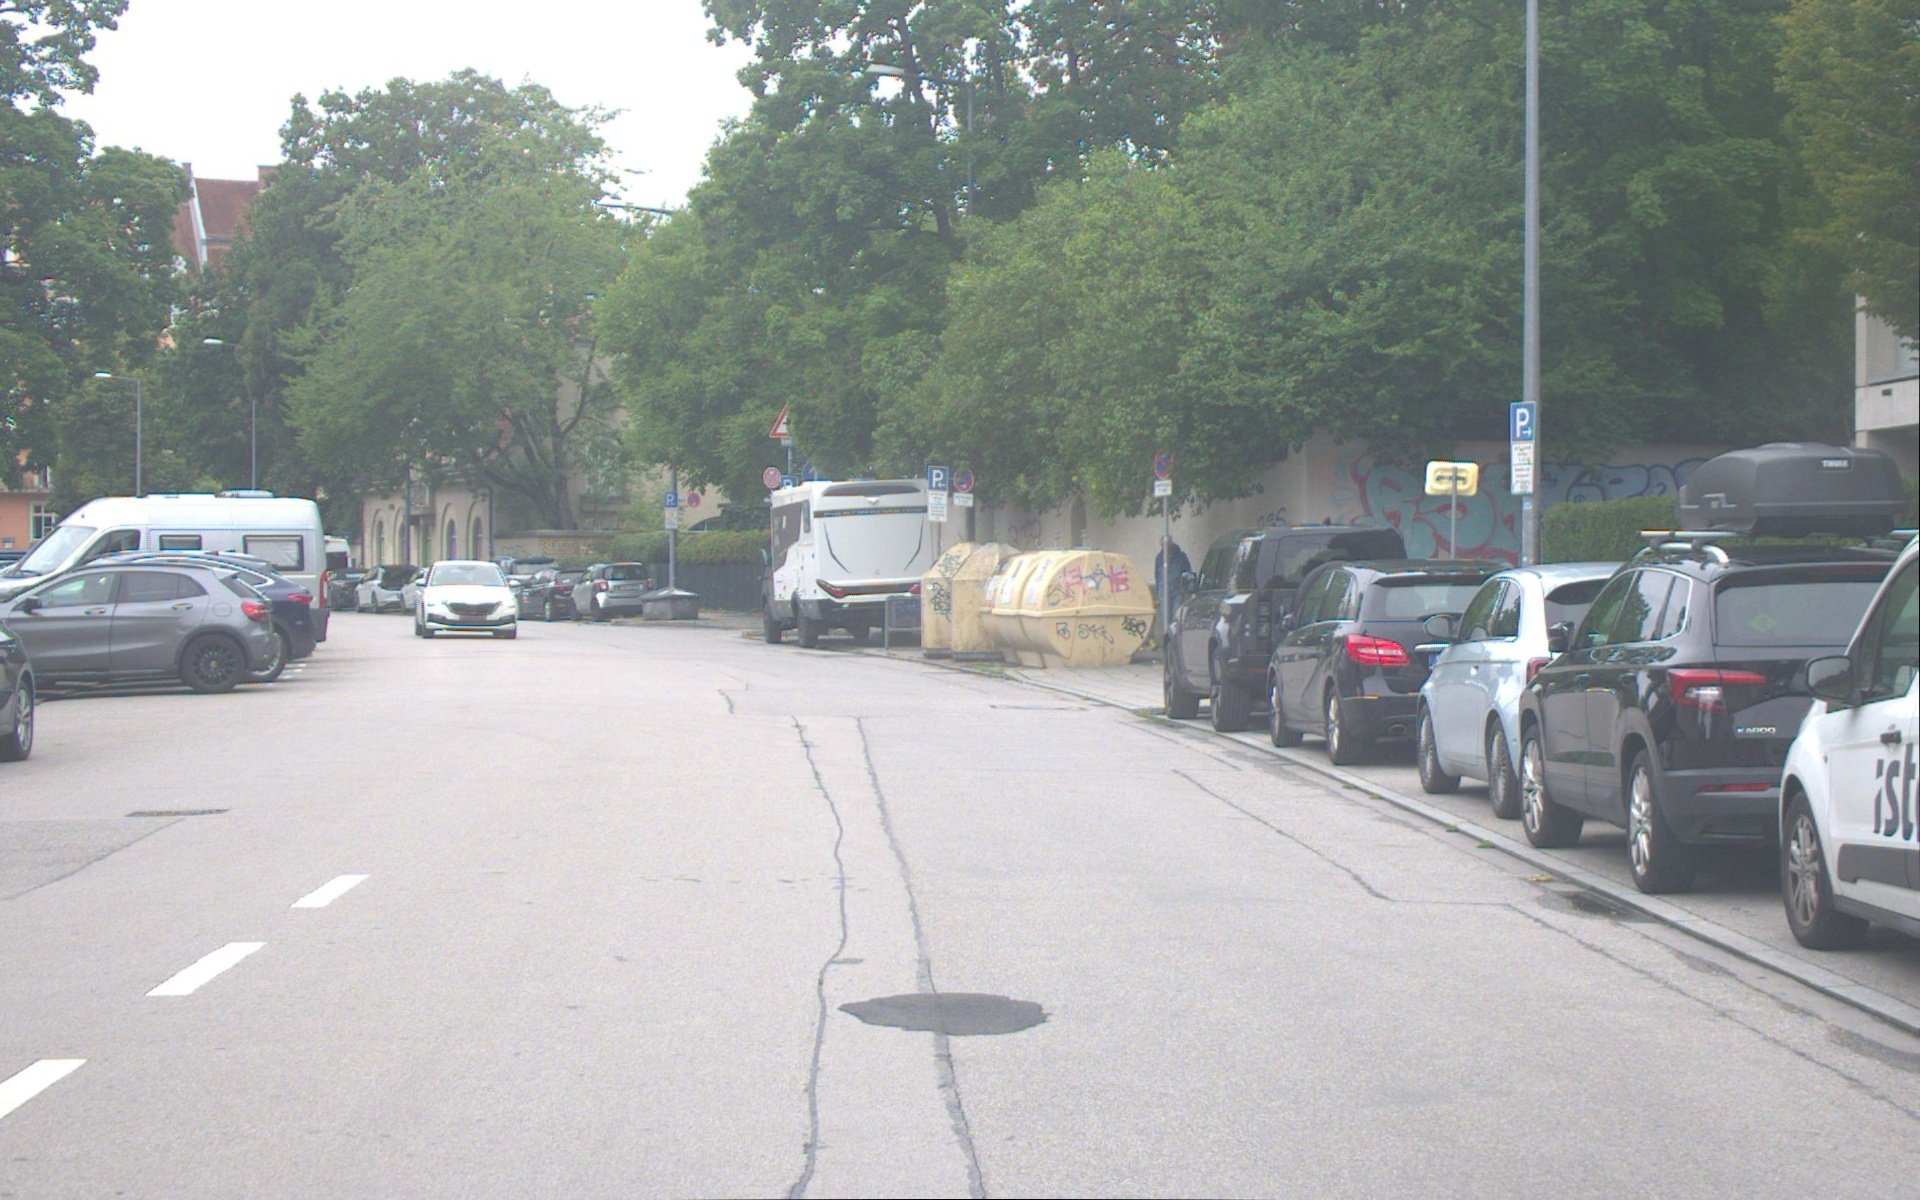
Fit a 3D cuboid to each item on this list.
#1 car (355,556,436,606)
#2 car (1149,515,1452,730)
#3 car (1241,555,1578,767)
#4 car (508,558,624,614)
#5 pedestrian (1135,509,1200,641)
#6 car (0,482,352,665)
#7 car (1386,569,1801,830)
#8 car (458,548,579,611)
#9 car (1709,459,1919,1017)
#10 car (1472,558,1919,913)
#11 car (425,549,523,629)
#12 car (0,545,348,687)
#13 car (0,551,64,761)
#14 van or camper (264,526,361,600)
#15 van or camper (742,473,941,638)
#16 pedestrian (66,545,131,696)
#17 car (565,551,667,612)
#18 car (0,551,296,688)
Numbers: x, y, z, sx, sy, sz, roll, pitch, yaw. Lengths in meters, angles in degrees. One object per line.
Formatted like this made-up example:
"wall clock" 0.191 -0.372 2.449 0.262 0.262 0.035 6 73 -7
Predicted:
"car" -18.255 -0.635 111.068 1.707 1.532 4.241 -2 1 -22
"car" 3.144 0.199 32.855 1.987 1.865 5.078 1 0 -4
"car" 3.488 0.422 27.495 1.747 1.534 4.570 0 1 -4
"car" -10.703 -0.397 93.217 1.877 1.422 4.223 -2 1 -25
"pedestrian" 3.136 -0.381 51.924 0.795 1.978 0.631 0 1 -17
"car" -11.518 -0.435 50.339 4.623 2.554 2.234 -1 2 -35
"car" 3.898 0.558 21.783 1.747 1.475 3.889 0 1 -3
"car" -12.541 -0.604 97.482 1.993 1.705 4.886 -2 1 -25
"car" 4.111 0.468 12.013 1.822 1.854 4.898 1 1 -1
"car" 3.864 0.565 17.164 1.747 1.475 4.598 1 1 -2
"car" -9.249 -0.228 65.451 1.772 1.470 4.135 0 1 -8
"car" -10.041 0.166 42.290 4.513 1.588 1.965 -2 1 -35
"car" -7.970 0.446 25.089 1.845 1.530 4.562 -2 1 -3
"van or camper" -23.137 -1.335 122.748 2.192 2.541 5.729 -1 1 -23
"van or camper" -2.295 -0.830 63.940 2.272 2.896 7.279 0 1 -14
"pedestrian" -9.615 0.224 38.392 0.589 1.642 0.714 -2 2 -10
"car" -8.964 -0.468 89.453 1.738 1.531 2.947 -2 0 -25
"car" -9.914 0.221 39.528 4.329 1.524 1.934 0 -1 -15
